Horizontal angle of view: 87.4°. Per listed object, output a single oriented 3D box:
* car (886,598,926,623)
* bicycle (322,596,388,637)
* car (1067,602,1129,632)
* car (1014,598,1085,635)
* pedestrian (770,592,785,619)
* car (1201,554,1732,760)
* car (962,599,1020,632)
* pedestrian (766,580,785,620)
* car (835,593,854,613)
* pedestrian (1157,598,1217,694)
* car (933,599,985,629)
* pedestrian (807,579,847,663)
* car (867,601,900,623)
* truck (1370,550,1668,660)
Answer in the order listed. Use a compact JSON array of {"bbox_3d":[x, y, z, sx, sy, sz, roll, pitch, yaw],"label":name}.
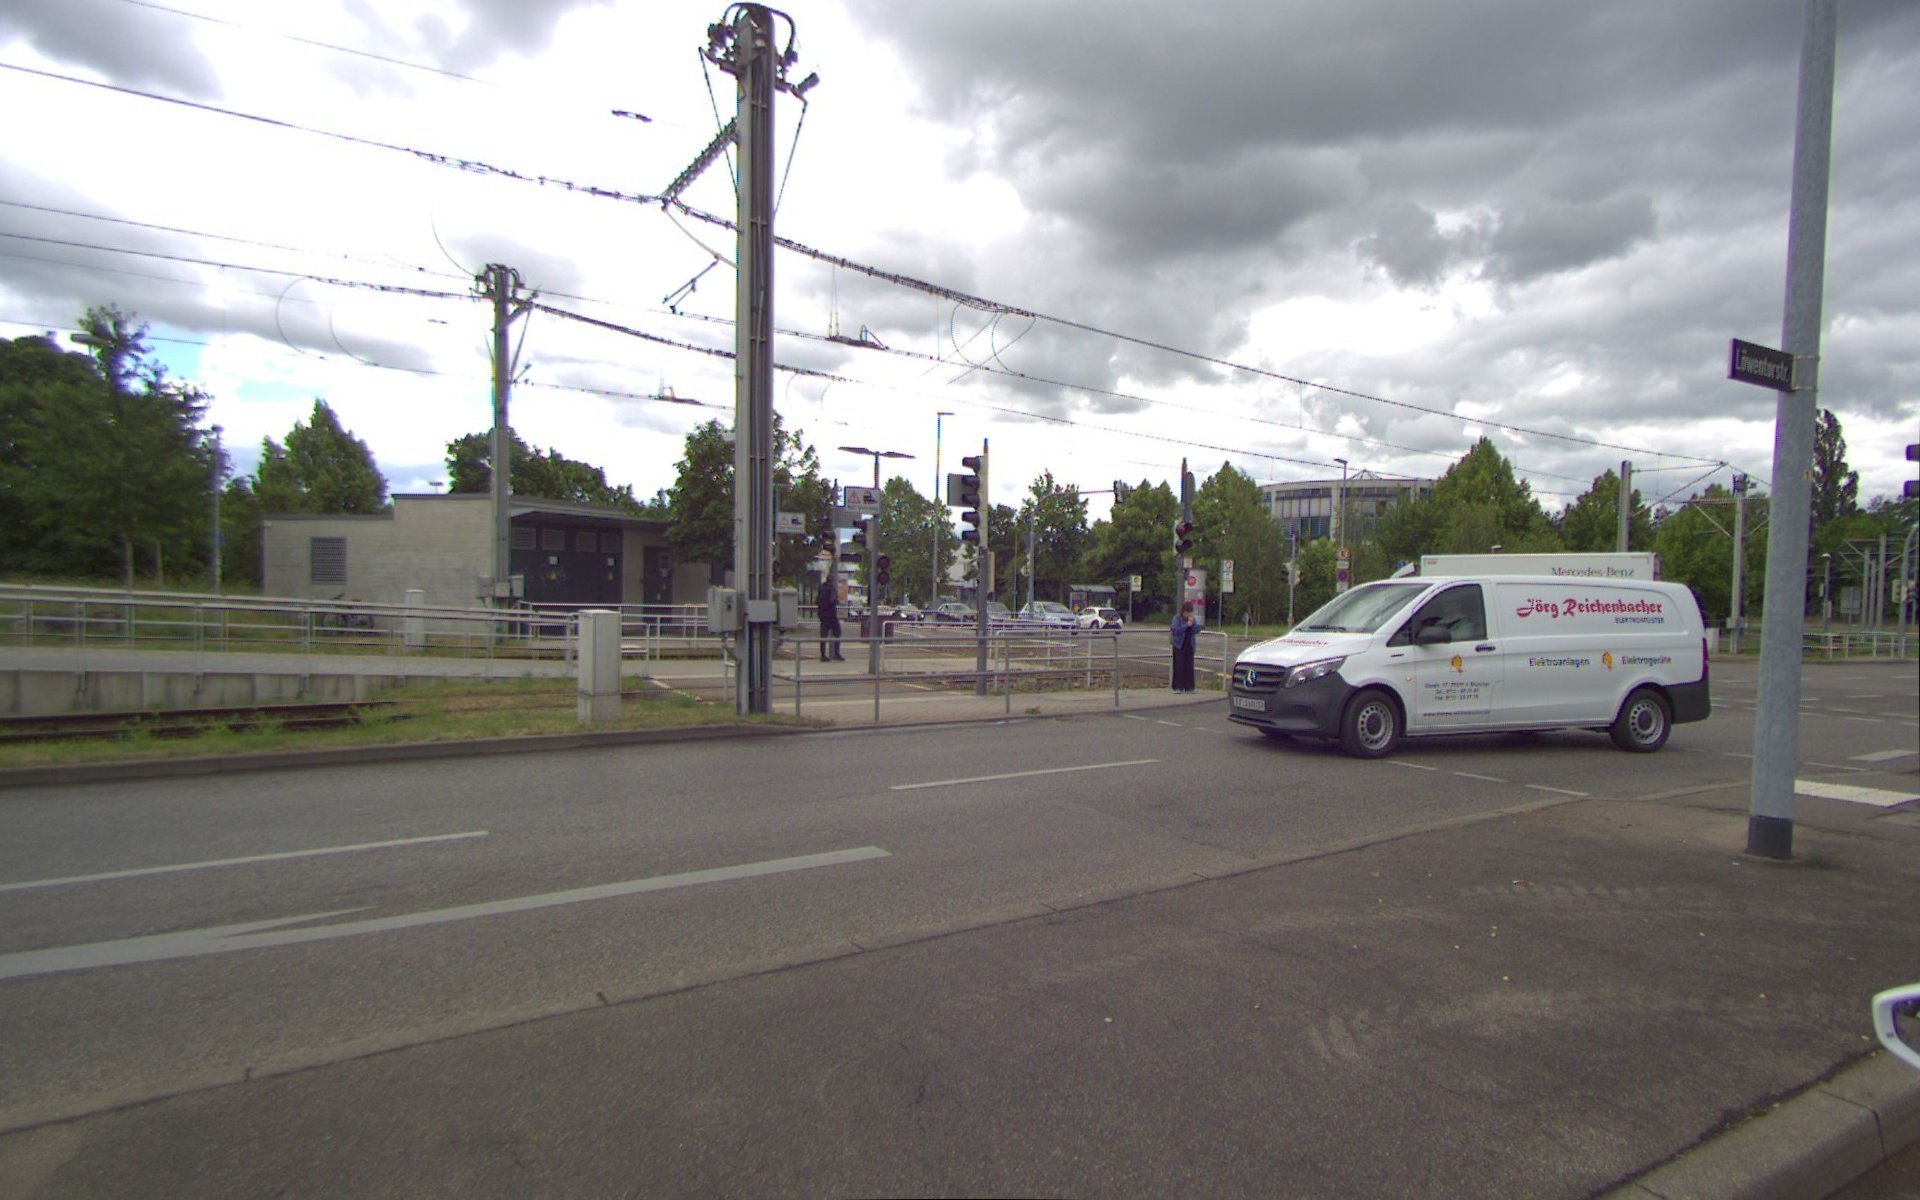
[{"bbox_3d":[-3.888,0.731,71.446,1.776,1.617,3.982,2,0,-19],"label":"car"},{"bbox_3d":[-16.408,0.450,27.240,1.778,1.045,0.536,2,0,21],"label":"bicycle"},{"bbox_3d":[7.949,0.972,58.166,2.015,1.617,3.983,2,0,-18],"label":"car"},{"bbox_3d":[4.174,0.753,47.462,1.848,1.617,3.982,2,0,-20],"label":"car"},{"bbox_3d":[-9.429,0.284,51.904,0.593,1.377,0.613,2,0,-21],"label":"pedestrian"},{"bbox_3d":[5.578,0.628,11.242,5.281,1.990,1.916,2,0,-13],"label":"car"},{"bbox_3d":[1.646,0.815,54.429,1.776,1.617,3.982,2,0,-19],"label":"car"},{"bbox_3d":[-7.300,-0.005,39.792,0.633,1.557,0.521,2,0,-2],"label":"pedestrian"},{"bbox_3d":[-13.621,0.309,118.677,1.964,2.218,5.800,1,0,-9],"label":"car"},{"bbox_3d":[3.796,0.758,16.827,0.712,1.557,0.630,2,0,-33],"label":"pedestrian"},{"bbox_3d":[-0.084,0.783,58.603,1.776,1.617,3.982,2,0,-19],"label":"car"},{"bbox_3d":[-2.871,0.448,21.661,0.700,1.751,0.675,2,0,-19],"label":"pedestrian"},{"bbox_3d":[-6.117,0.931,80.308,1.775,1.617,3.985,2,0,-17],"label":"car"},{"bbox_3d":[20.167,0.118,36.664,9.135,3.580,3.005,1,0,37],"label":"truck"}]
